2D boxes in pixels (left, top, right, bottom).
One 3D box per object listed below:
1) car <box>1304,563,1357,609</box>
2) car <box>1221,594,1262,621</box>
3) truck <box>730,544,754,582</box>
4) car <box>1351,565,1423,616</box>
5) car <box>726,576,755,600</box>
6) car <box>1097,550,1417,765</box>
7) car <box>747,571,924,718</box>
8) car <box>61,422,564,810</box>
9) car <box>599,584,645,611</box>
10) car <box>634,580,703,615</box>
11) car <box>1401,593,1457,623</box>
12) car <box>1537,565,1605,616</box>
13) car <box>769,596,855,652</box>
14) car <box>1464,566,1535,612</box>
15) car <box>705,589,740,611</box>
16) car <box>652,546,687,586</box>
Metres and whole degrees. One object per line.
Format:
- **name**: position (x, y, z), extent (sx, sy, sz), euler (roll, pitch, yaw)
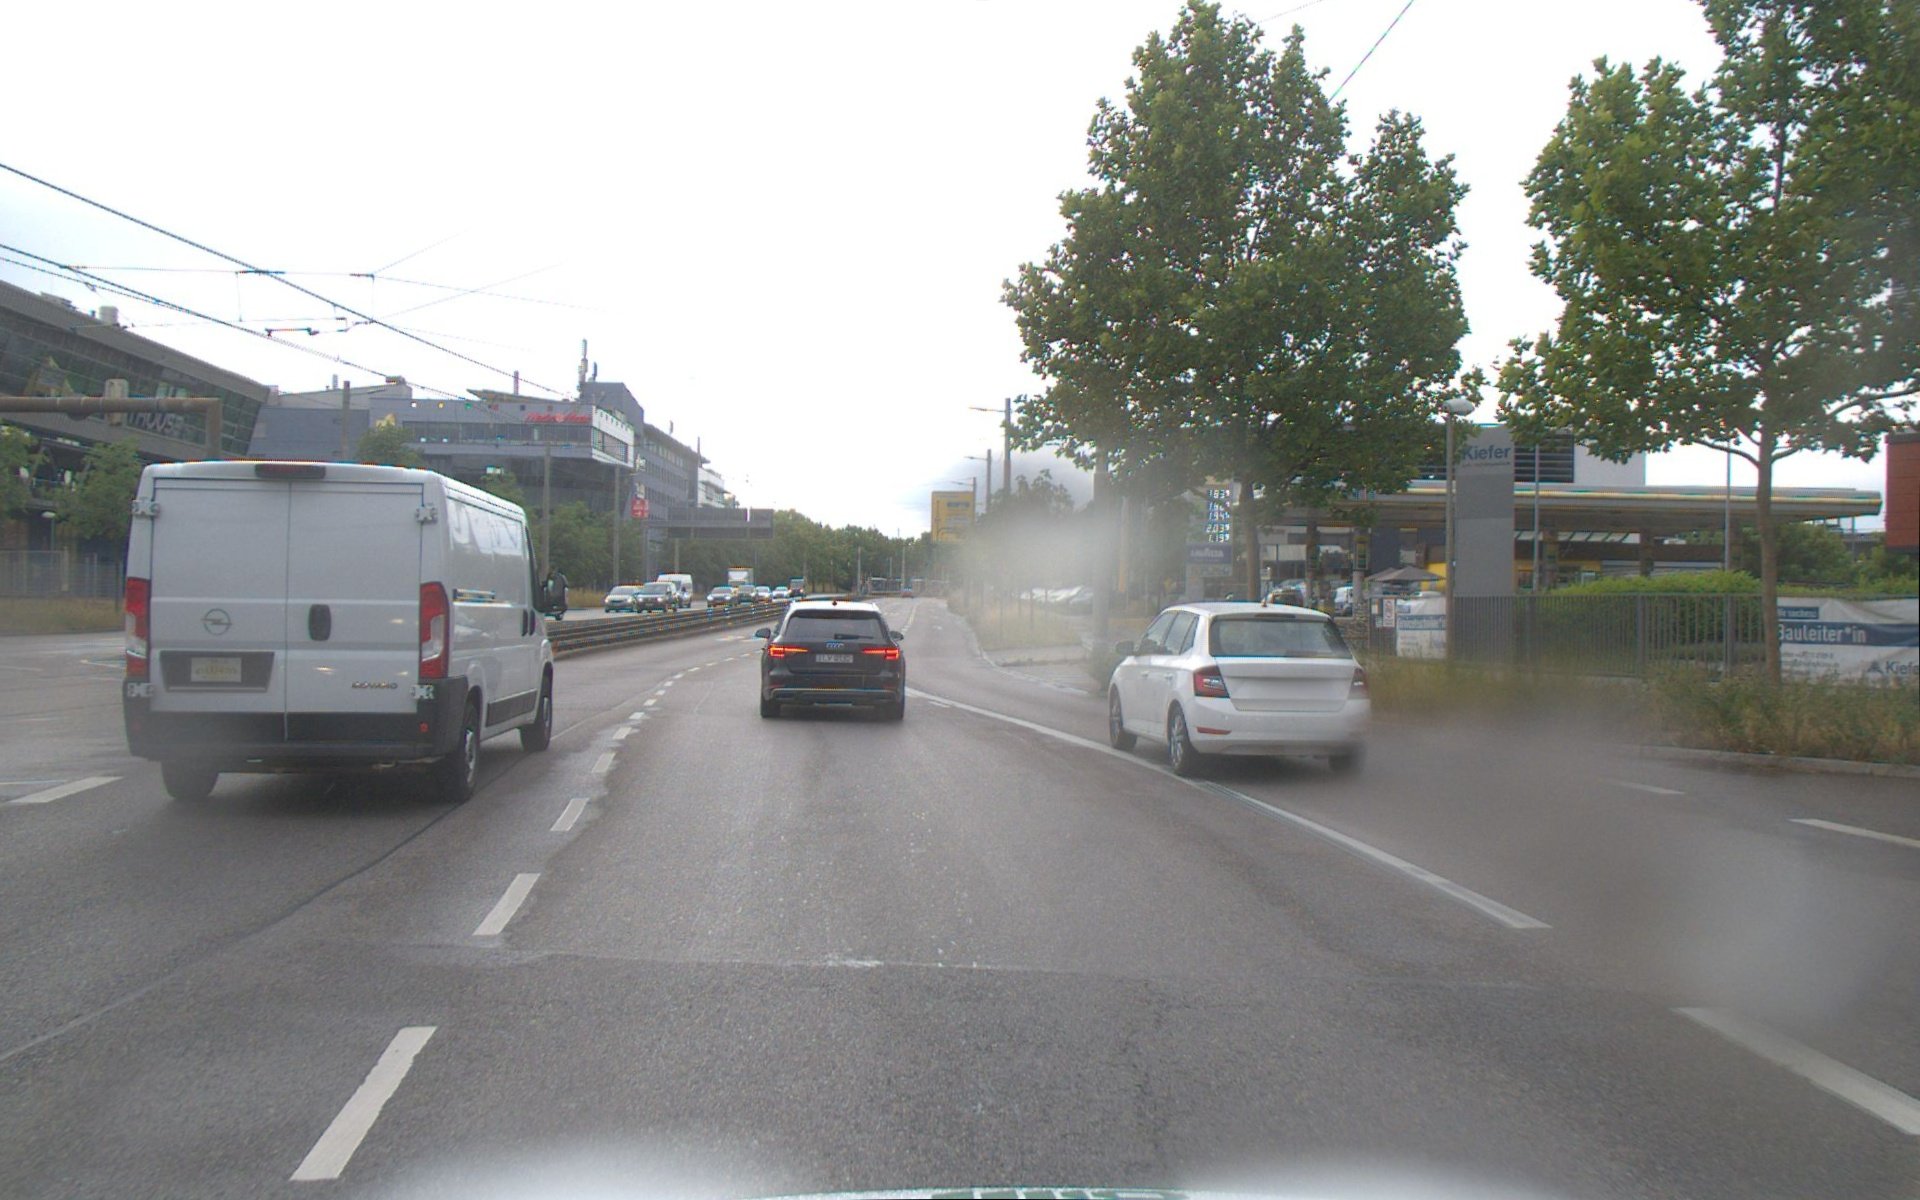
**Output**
- **car**: position (17.530, -0.645, 78.370), extent (1.645, 2.048, 3.542), euler (3, 0, 0)
- **car**: position (17.345, 0.467, 101.970), extent (1.755, 1.619, 3.999), euler (0, 0, -2)
- **truck**: position (-21.977, -3.701, 166.909), extent (2.118, 3.709, 6.864), euler (3, 0, -7)
- **car**: position (17.796, -0.384, 69.129), extent (1.953, 2.067, 4.000), euler (0, 0, 0)
- **car**: position (-18.904, -1.026, 142.770), extent (2.116, 1.918, 4.298), euler (3, 0, -4)
- **car**: position (2.573, 0.467, 15.316), extent (1.794, 1.685, 3.994), euler (2, 0, -7)
- **car**: position (-1.694, 0.487, 21.149), extent (1.956, 1.665, 3.993), euler (1, 1, -9)
- **car**: position (-4.548, 0.120, 12.637), extent (2.399, 2.334, 4.896), euler (2, 0, -8)
- **car**: position (-21.187, -0.162, 103.713), extent (2.116, 1.532, 4.299), euler (3, 0, -3)
- **car**: position (-17.327, -0.148, 98.516), extent (2.114, 1.918, 4.303), euler (3, 0, 19)
- **car**: position (26.284, 0.414, 92.792), extent (1.953, 1.624, 3.999), euler (0, 0, -2)
- **car**: position (26.055, -0.411, 70.623), extent (1.641, 2.048, 3.137), euler (3, 0, -1)
- **car**: position (-4.172, 0.661, 47.103), extent (1.854, 1.491, 3.911), euler (1, 0, 3)
- **car**: position (25.834, -0.545, 79.348), extent (1.834, 2.048, 3.770), euler (3, 0, -5)
- **car**: position (-17.789, 0.001, 124.050), extent (1.763, 1.649, 4.957), euler (0, 0, 2)
- **car**: position (-21.552, -2.504, 122.904), extent (2.118, 2.769, 5.060), euler (3, 0, -7)
